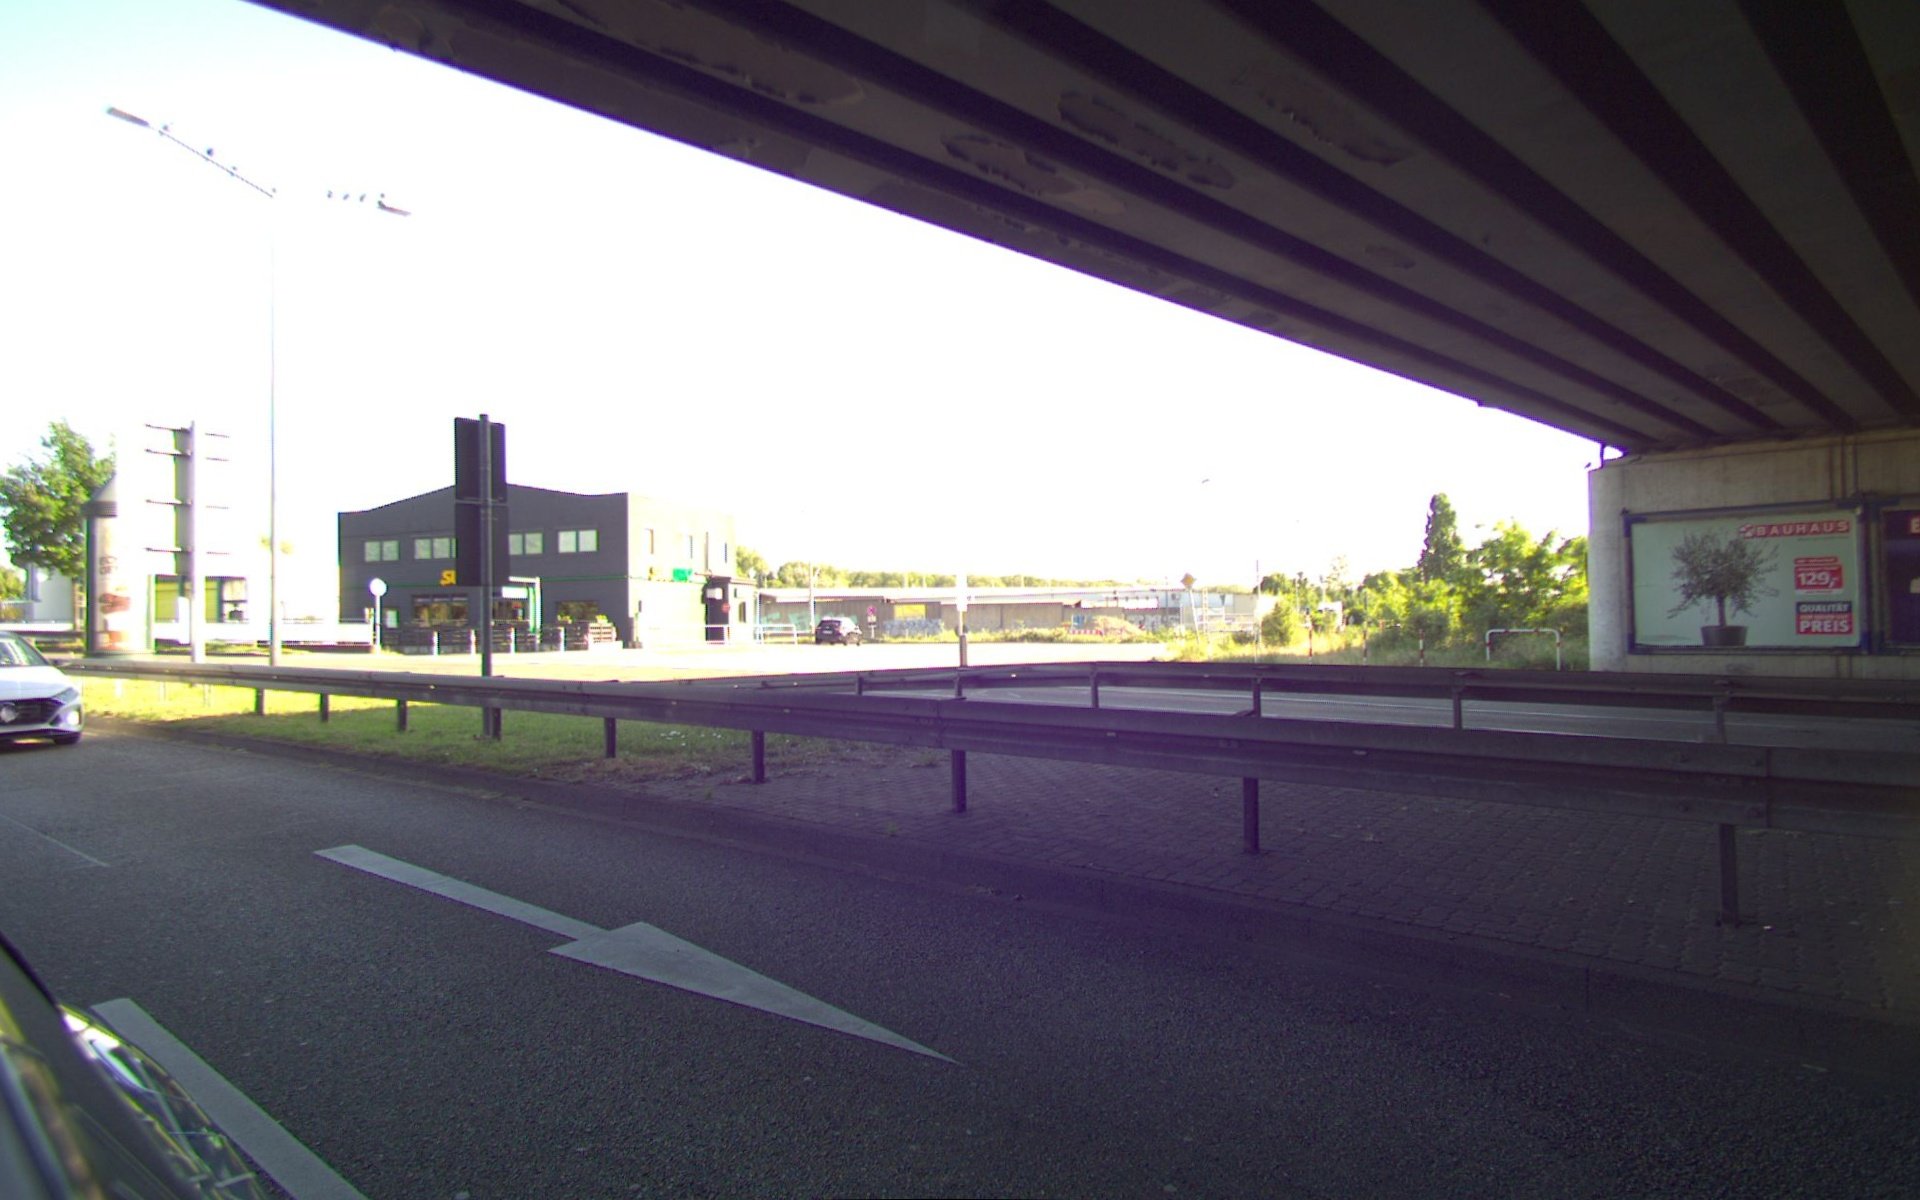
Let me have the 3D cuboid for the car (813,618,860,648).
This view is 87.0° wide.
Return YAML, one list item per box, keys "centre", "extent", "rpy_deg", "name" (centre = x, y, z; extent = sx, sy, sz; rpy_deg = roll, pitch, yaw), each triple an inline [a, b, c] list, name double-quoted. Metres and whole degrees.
- centre: [-6.667, 1.781, 54.980]
  extent: [1.858, 1.453, 3.996]
  rpy_deg: [-1, 0, 3]
  name: "car"

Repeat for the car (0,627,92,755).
- centre: [-12.484, 1.124, 12.481]
  extent: [3.860, 1.414, 1.718]
  rpy_deg: [-3, -1, 34]
  name: "car"
